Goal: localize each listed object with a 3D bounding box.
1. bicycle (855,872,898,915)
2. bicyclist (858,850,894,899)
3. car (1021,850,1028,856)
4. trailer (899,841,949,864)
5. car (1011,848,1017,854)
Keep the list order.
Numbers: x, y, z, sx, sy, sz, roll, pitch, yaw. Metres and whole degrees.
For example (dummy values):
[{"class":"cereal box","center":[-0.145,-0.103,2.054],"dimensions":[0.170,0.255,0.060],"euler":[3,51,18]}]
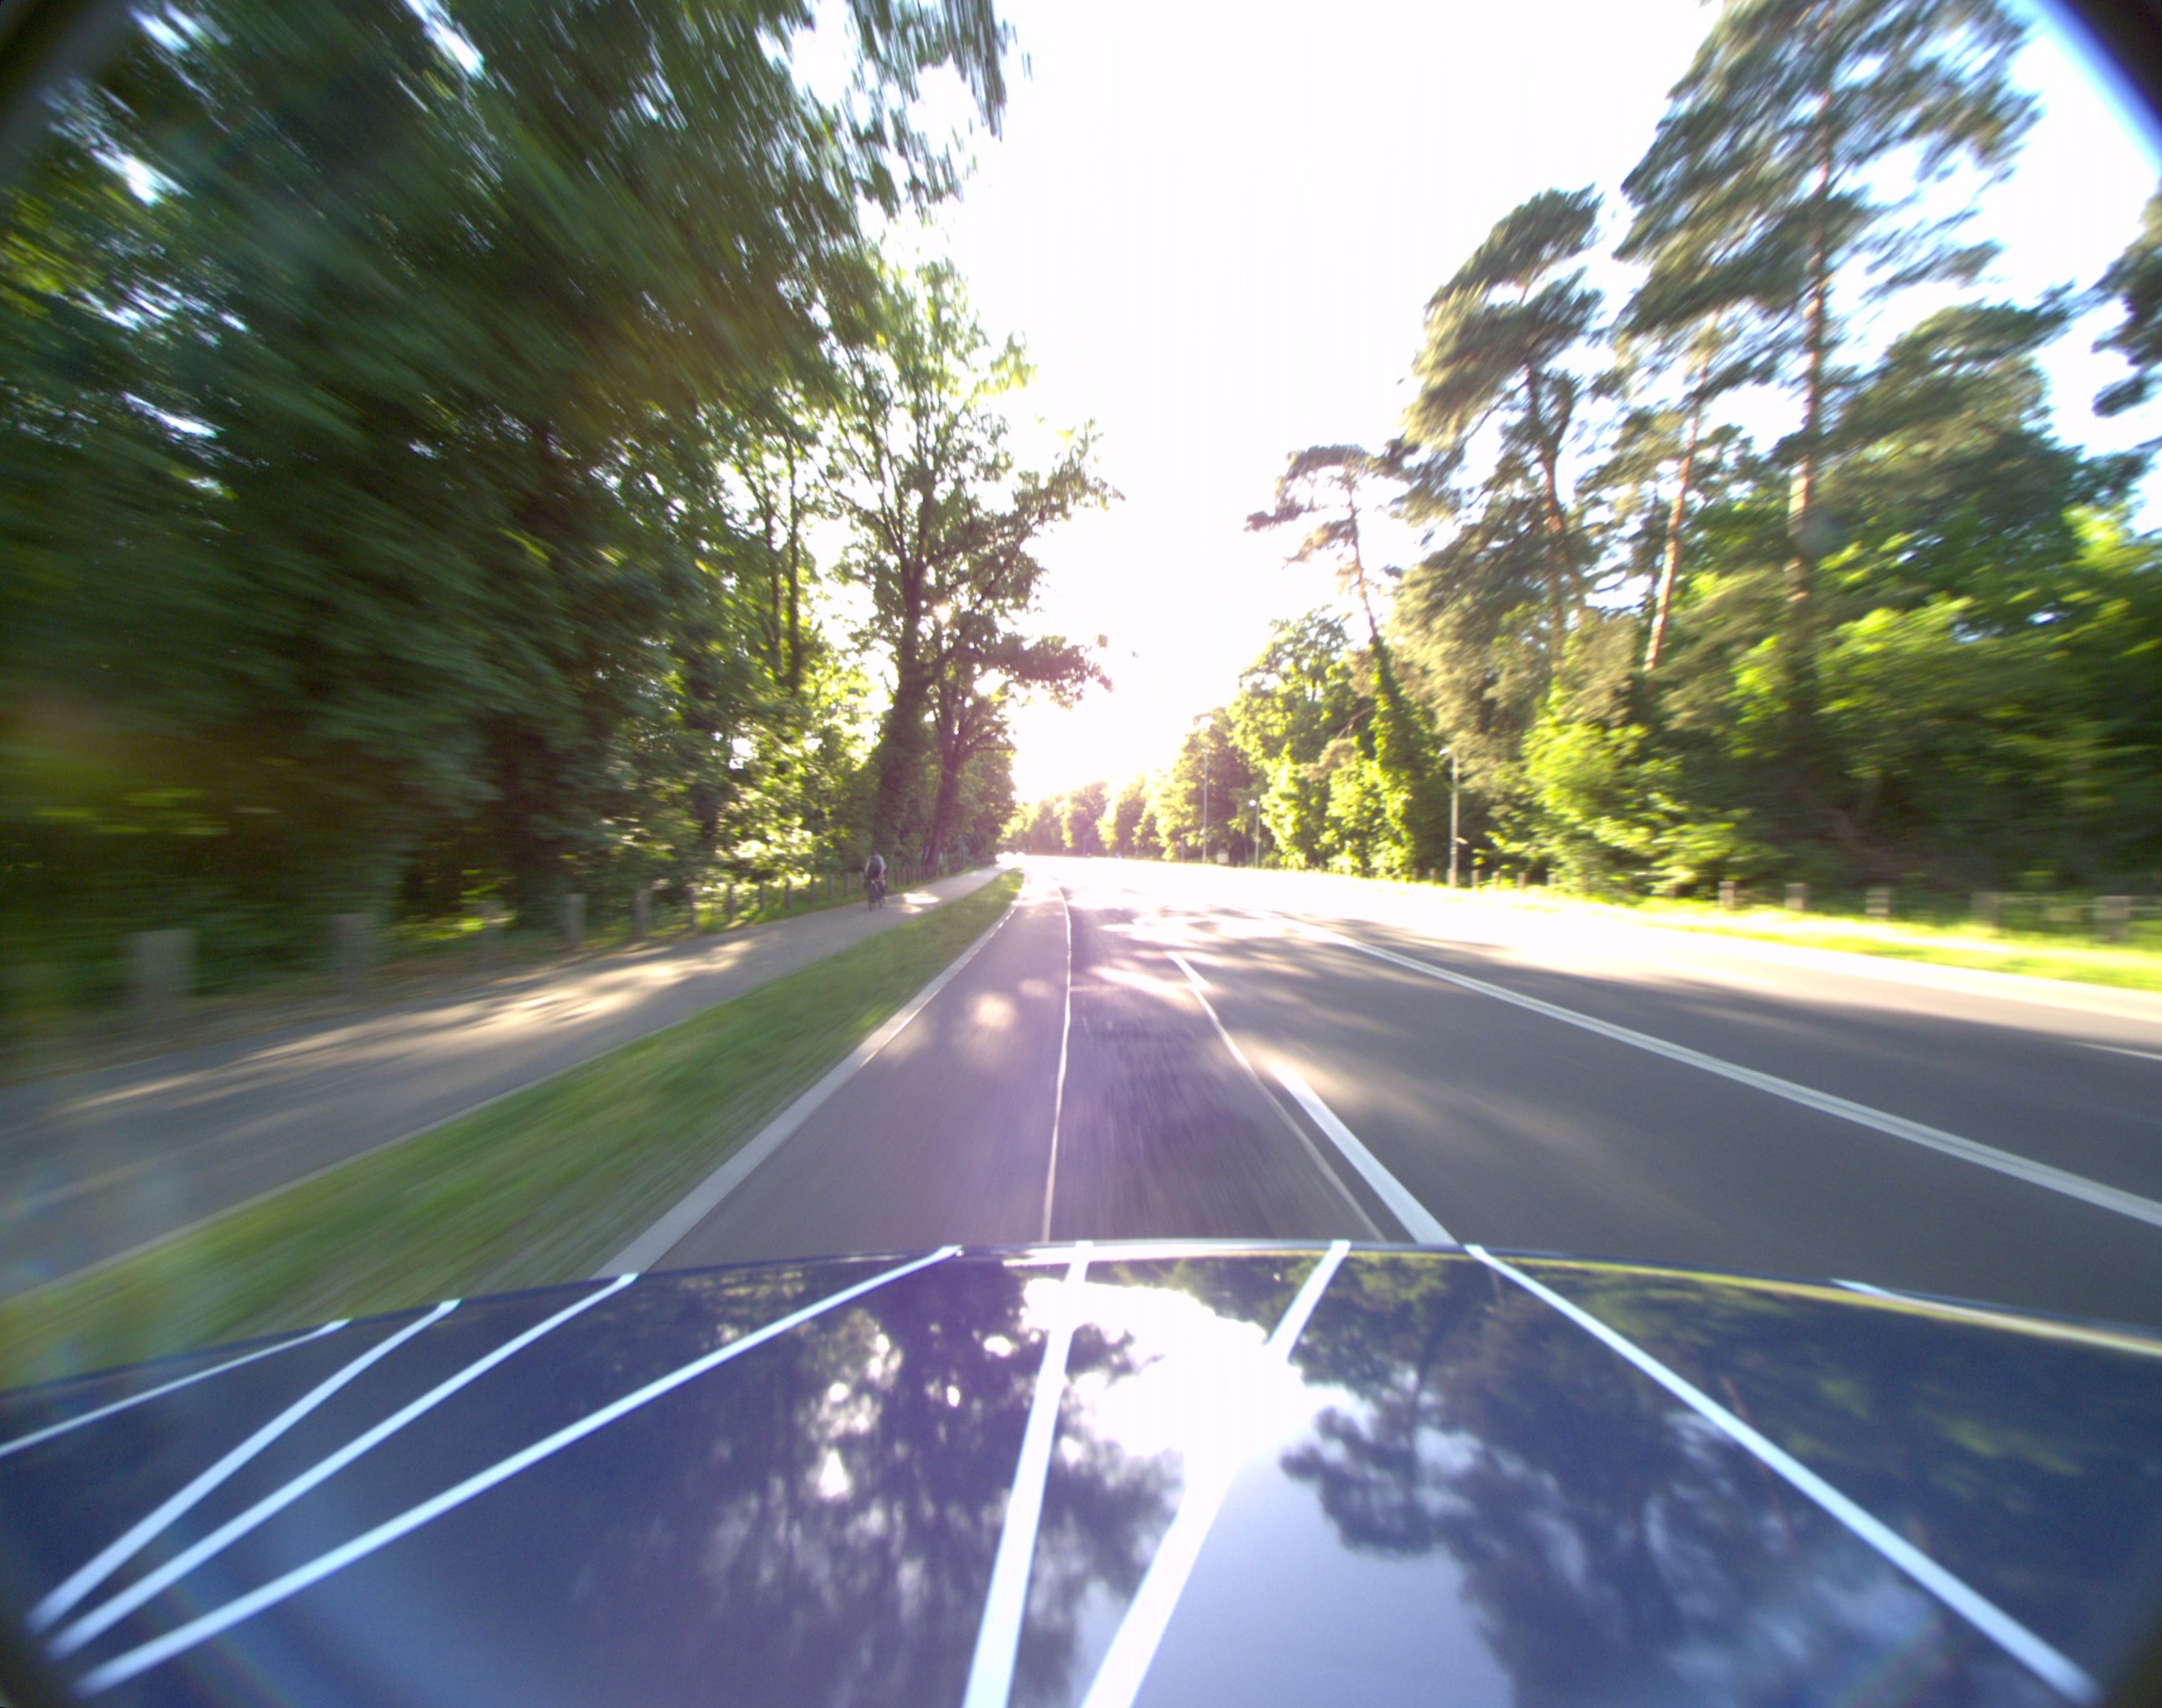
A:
[{"class":"bicycle","center":[-5.646,1.070,21.065],"dimensions":[0.714,1.049,2.052],"euler":[-1,1,-3]},{"class":"bicyclist","center":[-5.656,0.551,21.014],"dimensions":[0.714,1.281,1.104],"euler":[-1,1,-3]},{"class":"car","center":[-16.007,-0.357,215.089],"dimensions":[1.827,1.674,3.996],"euler":[-1,1,-9]},{"class":"trailer","center":[-13.831,-0.134,66.967],"dimensions":[4.215,2.010,2.004],"euler":[0,1,37]},{"class":"car","center":[-21.814,-0.975,246.752],"dimensions":[1.828,1.674,3.996],"euler":[-1,1,-10]}]
